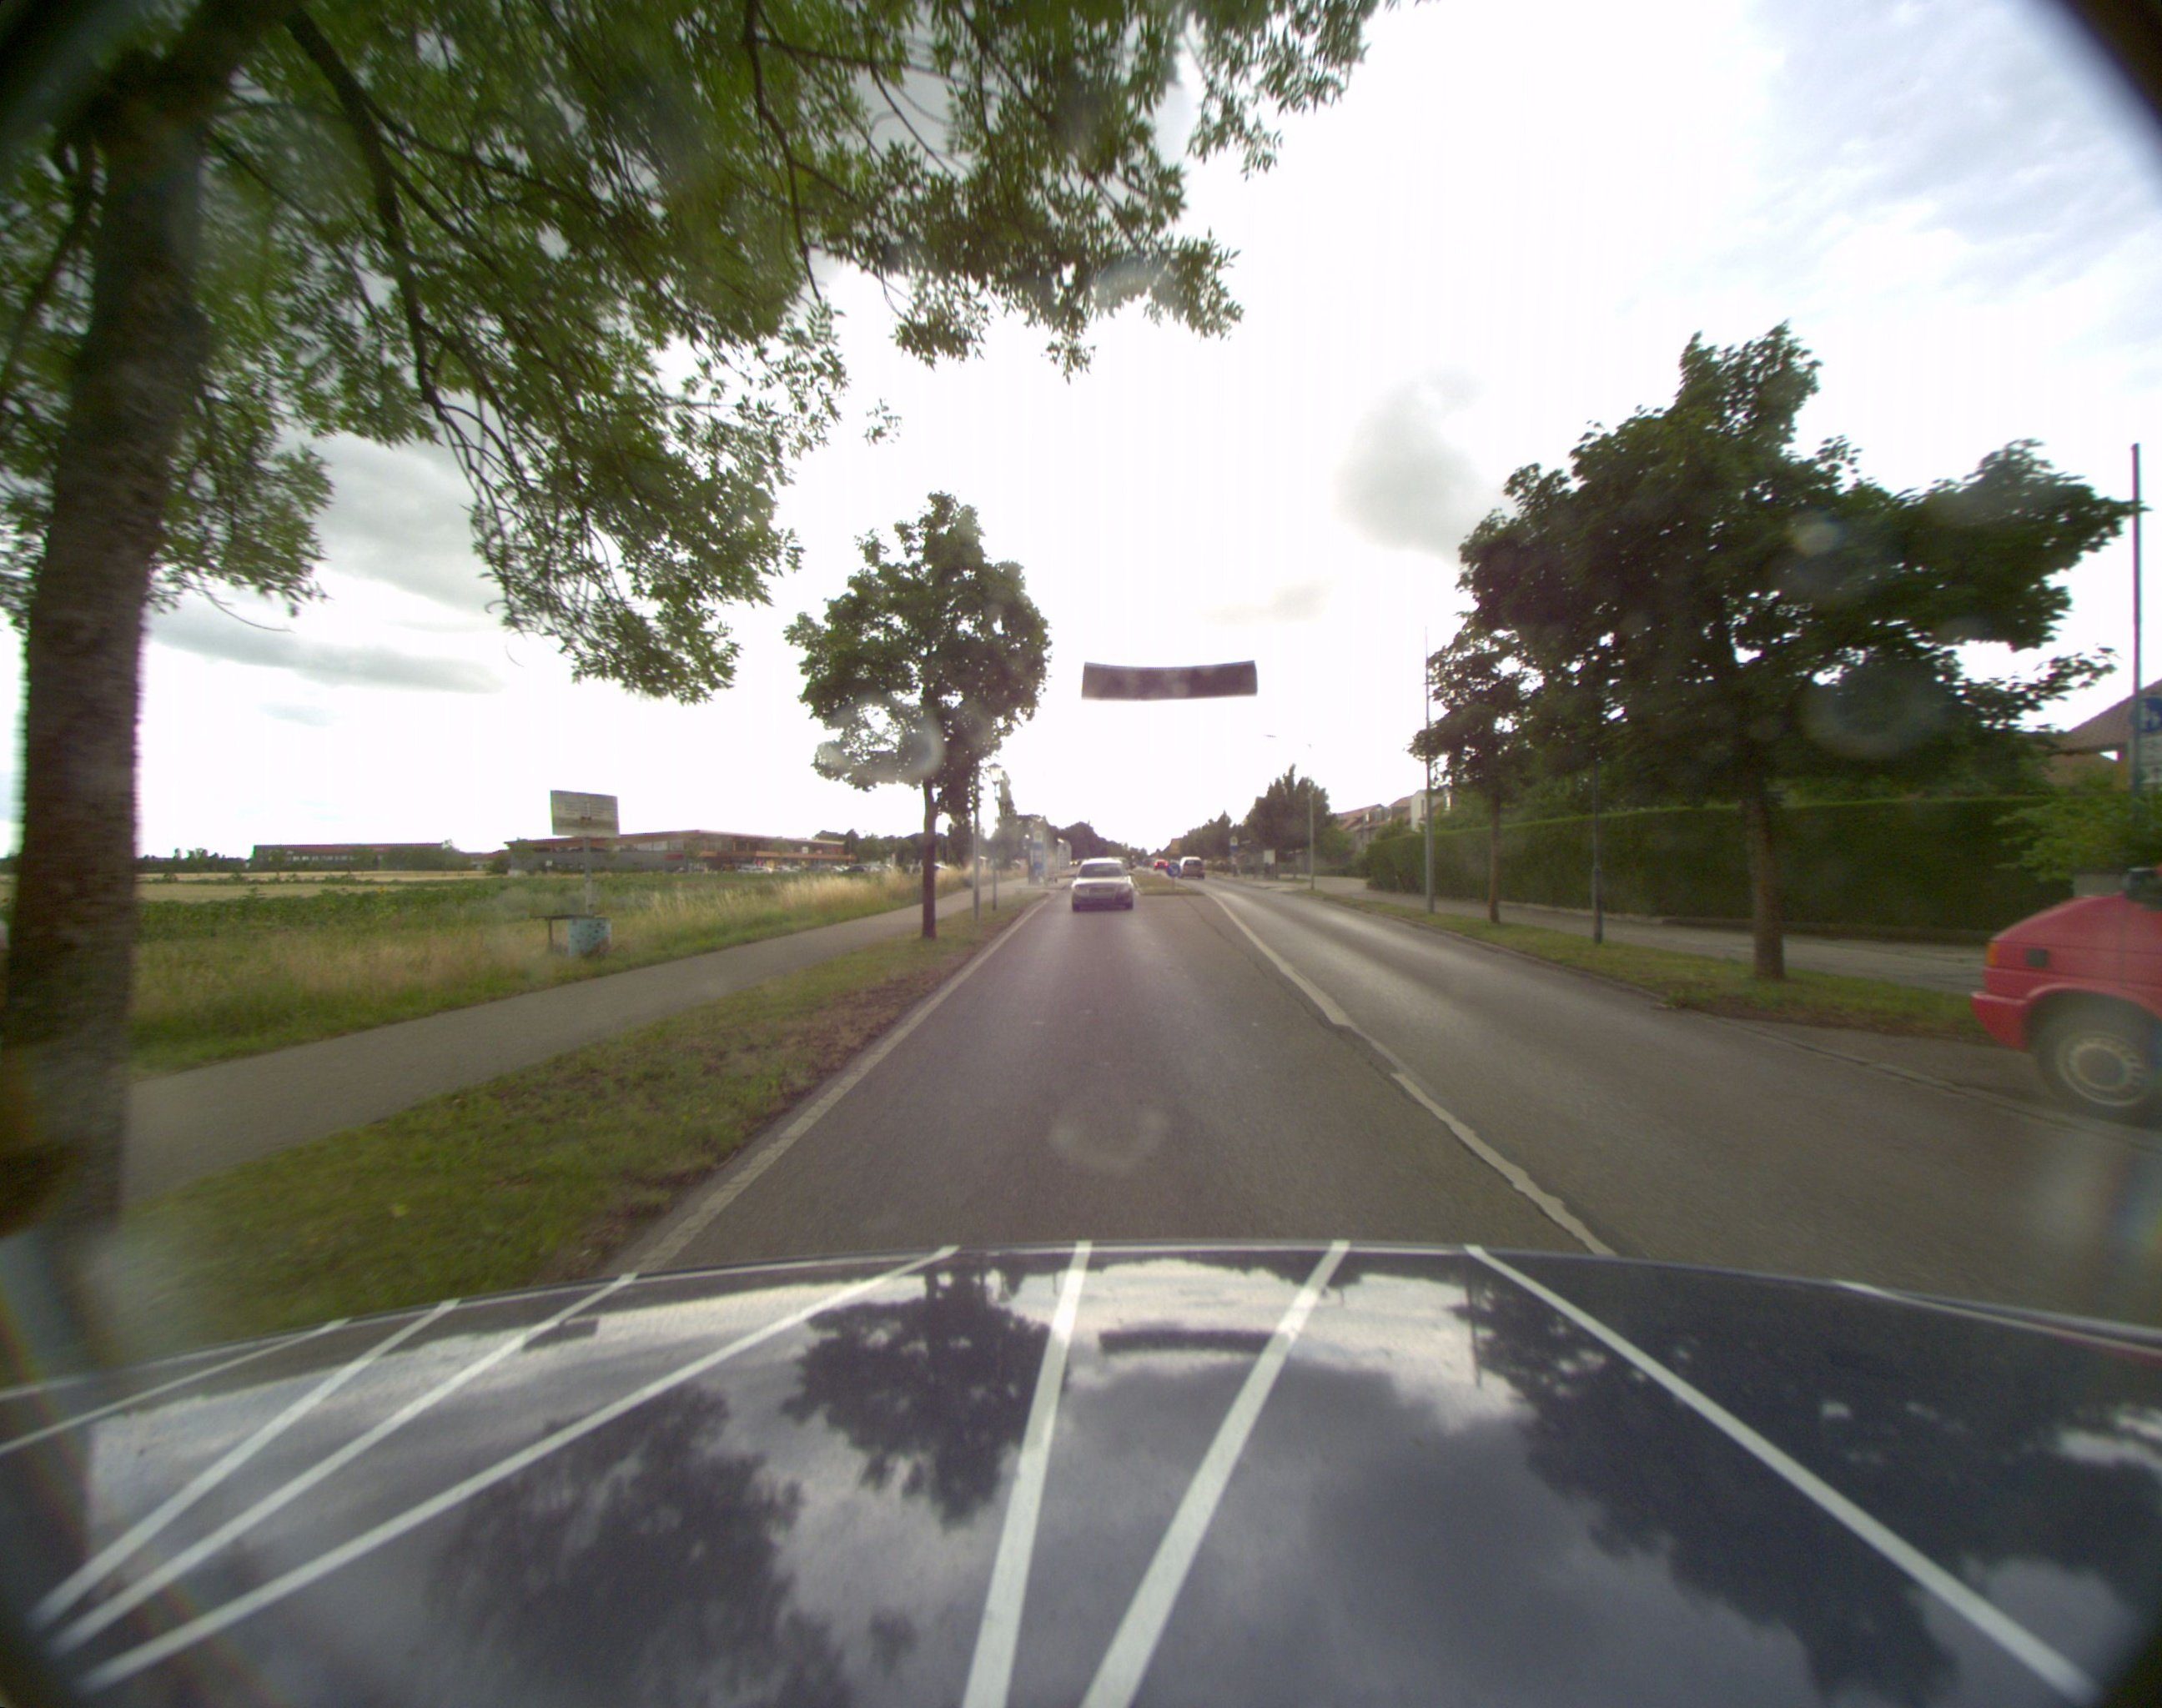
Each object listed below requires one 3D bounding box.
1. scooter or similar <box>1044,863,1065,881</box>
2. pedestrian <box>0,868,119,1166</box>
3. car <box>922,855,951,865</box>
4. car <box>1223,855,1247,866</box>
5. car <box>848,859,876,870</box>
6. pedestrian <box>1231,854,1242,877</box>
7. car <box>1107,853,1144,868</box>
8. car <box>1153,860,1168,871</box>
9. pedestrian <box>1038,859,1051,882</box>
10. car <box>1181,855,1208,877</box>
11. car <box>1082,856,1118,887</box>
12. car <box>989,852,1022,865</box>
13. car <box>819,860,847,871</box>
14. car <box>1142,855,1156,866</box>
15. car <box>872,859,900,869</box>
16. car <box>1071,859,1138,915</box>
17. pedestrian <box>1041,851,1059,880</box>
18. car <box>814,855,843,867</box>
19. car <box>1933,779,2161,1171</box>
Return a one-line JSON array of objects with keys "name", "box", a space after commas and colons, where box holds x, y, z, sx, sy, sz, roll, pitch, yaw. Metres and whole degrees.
[{"name": "scooter or similar", "box": [-1.582, 1.070, 45.105, 0.707, 1.056, 1.062, -2, 1, 39]}, {"name": "pedestrian", "box": [-6.786, 0.974, 4.578, 0.839, 1.744, 0.870, -1, 1, 7]}, {"name": "car", "box": [-29.781, 1.232, 156.671, 5.526, 2.002, 1.999, -3, 1, -4]}, {"name": "car", "box": [30.347, 1.238, 149.944, 4.567, 2.002, 2.001, -2, 1, 7]}, {"name": "car", "box": [-42.328, 1.992, 146.847, 4.857, 2.002, 1.999, -3, 1, -5]}, {"name": "pedestrian", "box": [11.194, 0.794, 54.656, 0.589, 1.626, 0.813, -1, 0, 2]}, {"name": "car", "box": [6.882, 0.995, 117.681, 5.321, 2.002, 1.997, -3, 1, -18]}, {"name": "car", "box": [11.020, 1.540, 105.572, 1.924, 1.445, 4.497, 0, 0, 3]}, {"name": "pedestrian", "box": [-2.147, 0.986, 44.720, 0.666, 1.295, 0.505, -3, 1, 3]}, {"name": "car", "box": [8.469, 0.882, 56.945, 1.711, 1.523, 3.509, 1, 0, 5]}, {"name": "car", "box": [1.056, 0.907, 40.972, 1.763, 1.495, 4.691, -3, 0, 2]}, {"name": "car", "box": [-13.122, 0.787, 132.011, 5.526, 2.002, 1.999, -3, 1, -4]}, {"name": "car", "box": [-48.957, 2.265, 150.310, 4.857, 2.002, 1.999, -3, 1, -5]}, {"name": "car", "box": [14.108, 1.348, 157.656, 2.560, 2.002, 5.317, -2, 0, 1]}, {"name": "car", "box": [-41.517, 2.123, 161.966, 5.526, 2.002, 1.999, -3, 1, -4]}, {"name": "car", "box": [0.730, 0.914, 22.853, 1.763, 1.410, 4.521, -3, 0, 2]}, {"name": "pedestrian", "box": [-1.967, 0.708, 48.526, 0.782, 1.782, 0.780, -3, 1, 24]}, {"name": "car", "box": [-47.747, 1.287, 143.904, 4.857, 2.002, 1.999, -3, 1, -5]}, {"name": "car", "box": [6.385, 0.603, 2.432, 1.834, 2.018, 5.047, -1, 0, 3]}]
